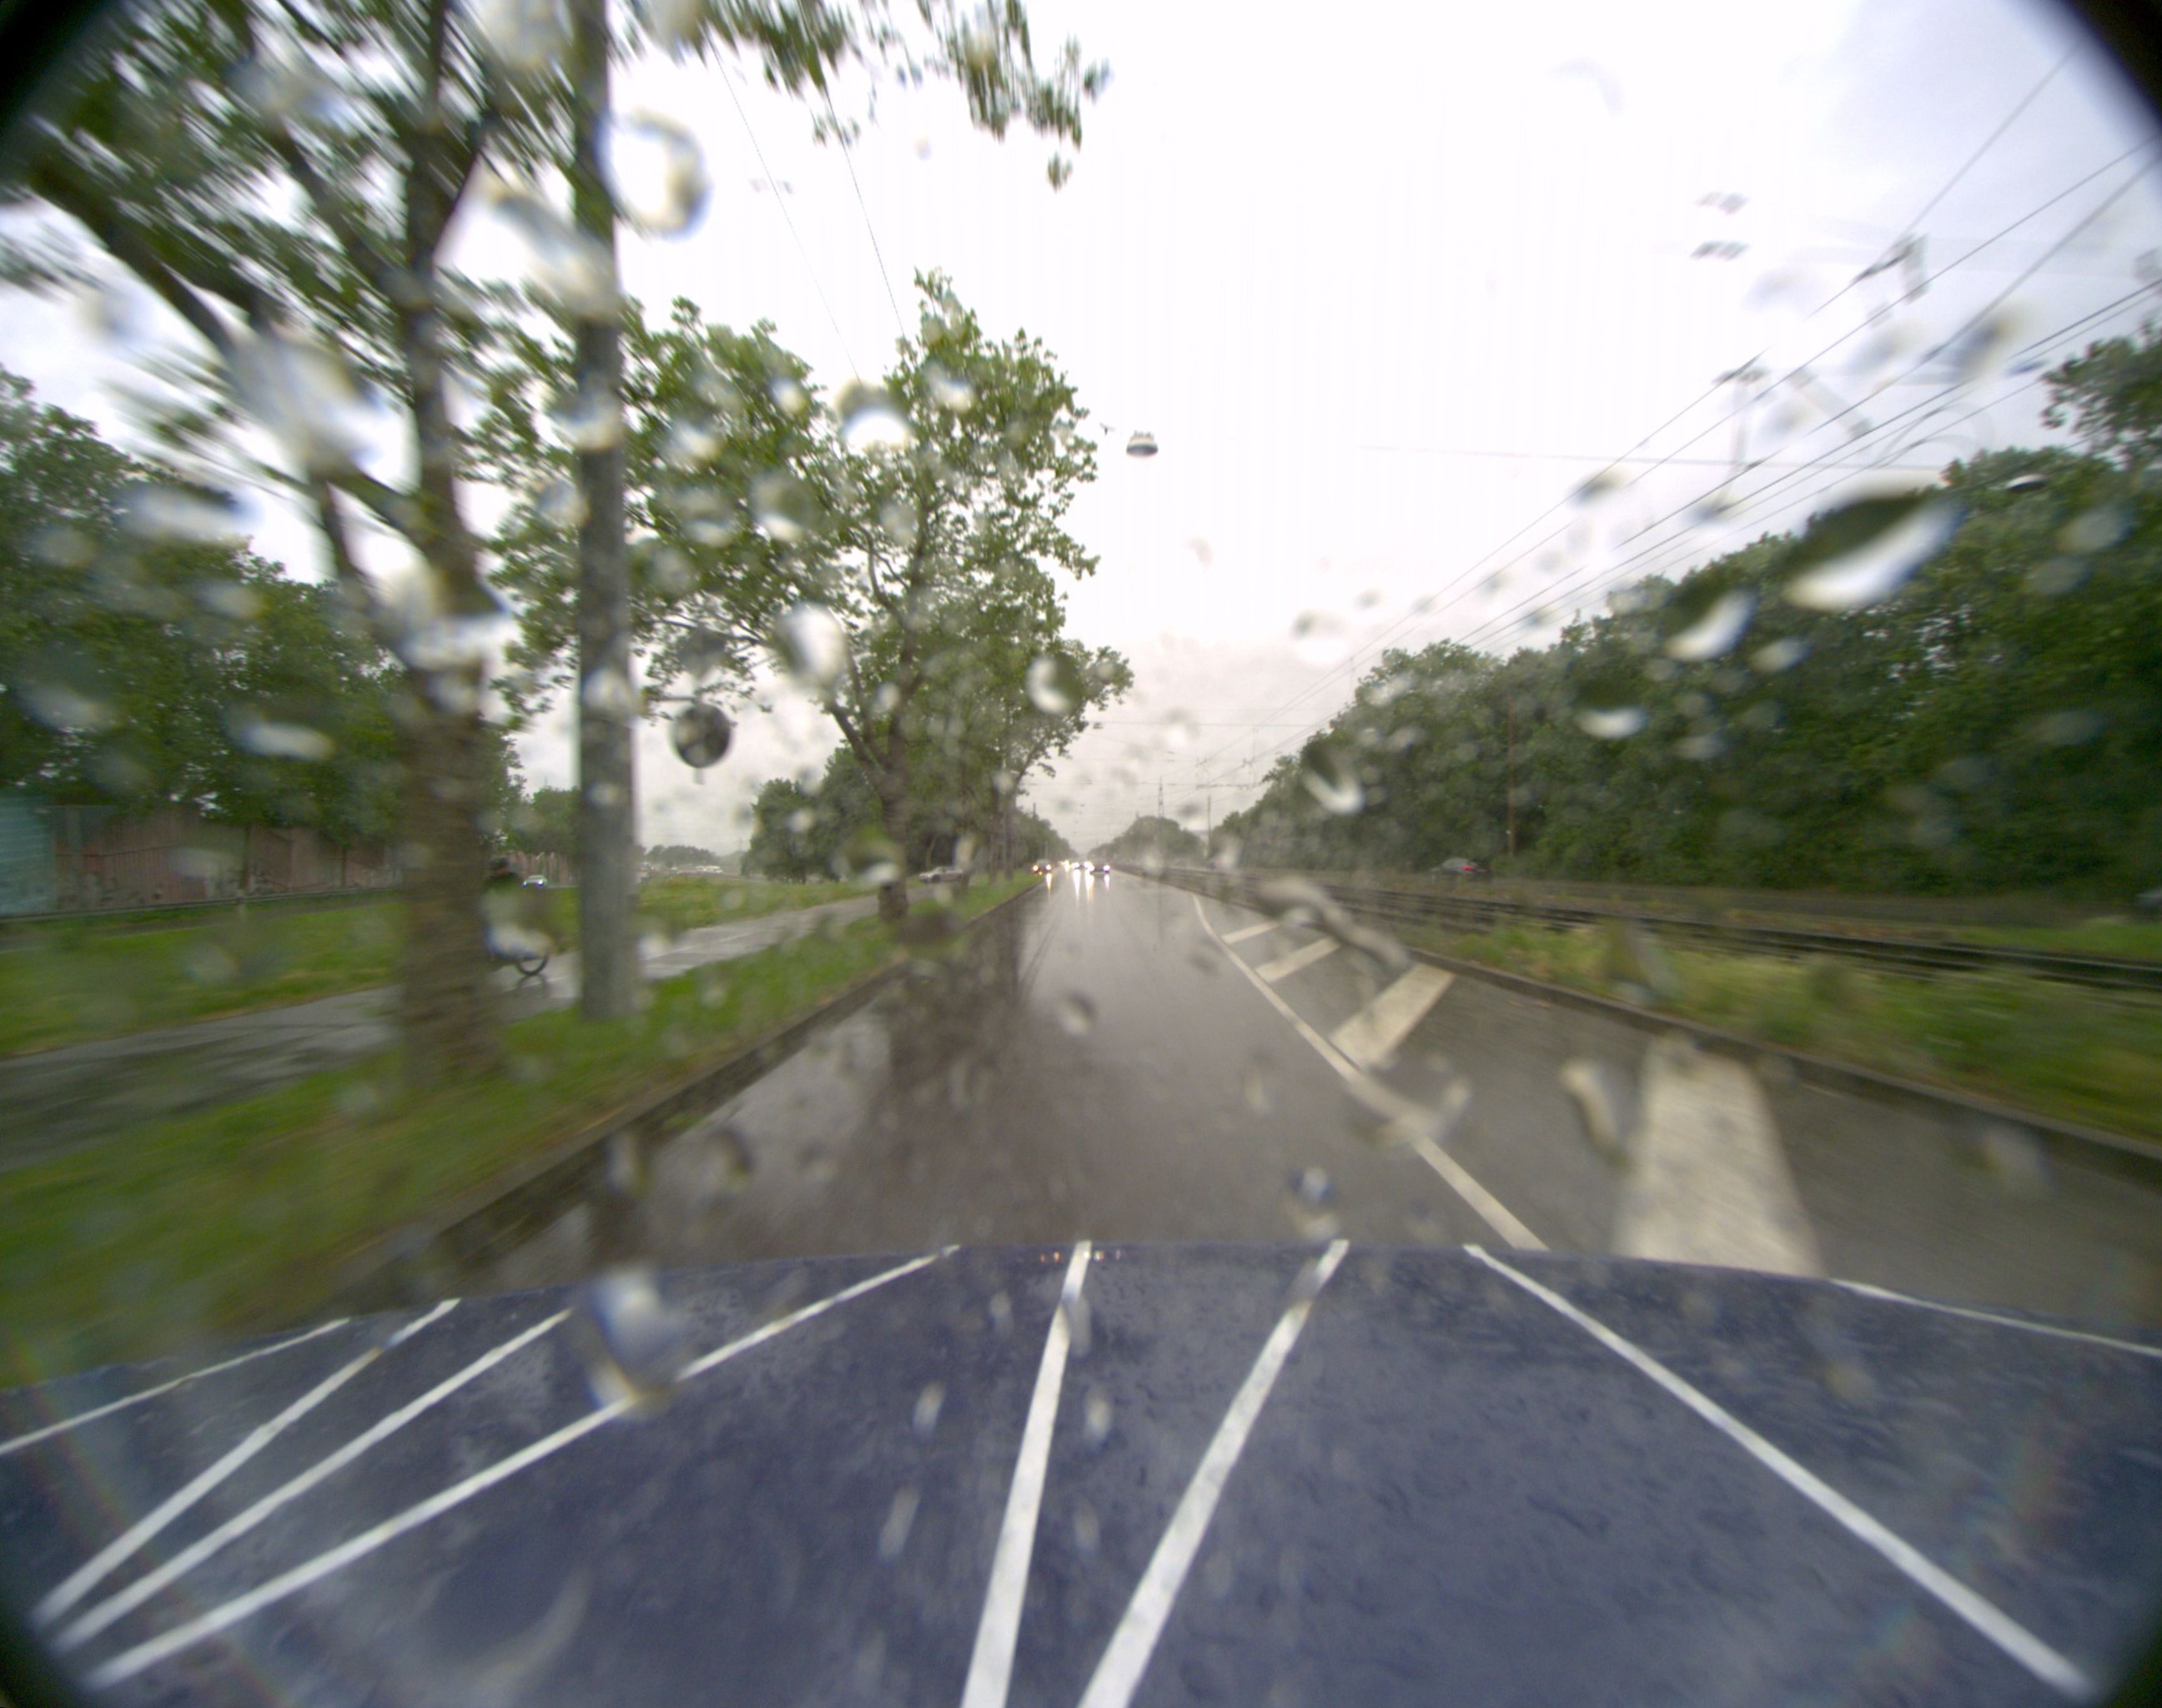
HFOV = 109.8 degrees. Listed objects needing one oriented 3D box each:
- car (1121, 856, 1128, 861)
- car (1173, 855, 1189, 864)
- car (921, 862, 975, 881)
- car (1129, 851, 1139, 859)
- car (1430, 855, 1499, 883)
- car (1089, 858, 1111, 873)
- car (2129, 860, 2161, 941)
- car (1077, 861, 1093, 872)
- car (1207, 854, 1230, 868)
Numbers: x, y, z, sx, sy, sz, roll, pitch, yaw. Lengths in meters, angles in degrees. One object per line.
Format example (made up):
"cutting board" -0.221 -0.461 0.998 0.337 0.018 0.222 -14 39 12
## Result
"car" 13.798 1.364 241.016 1.999 1.662 4.871 -1 0 -2
"car" 16.070 0.843 122.402 1.776 1.322 4.379 -1 0 -2
"car" -10.783 1.412 61.589 4.008 1.412 1.747 0 1 -43
"car" 13.916 0.299 199.487 1.999 1.772 4.000 -6 0 -1
"car" 20.826 0.792 41.421 1.687 1.398 3.938 -1 0 -2
"car" 1.797 1.076 73.880 1.971 1.412 3.999 0 0 -1
"car" 21.905 0.909 13.242 1.655 1.559 4.046 -1 0 -2
"car" 0.487 1.596 100.836 1.971 1.412 3.999 0 0 -1
"car" 16.710 0.832 92.494 1.695 1.514 4.954 -1 0 -2
